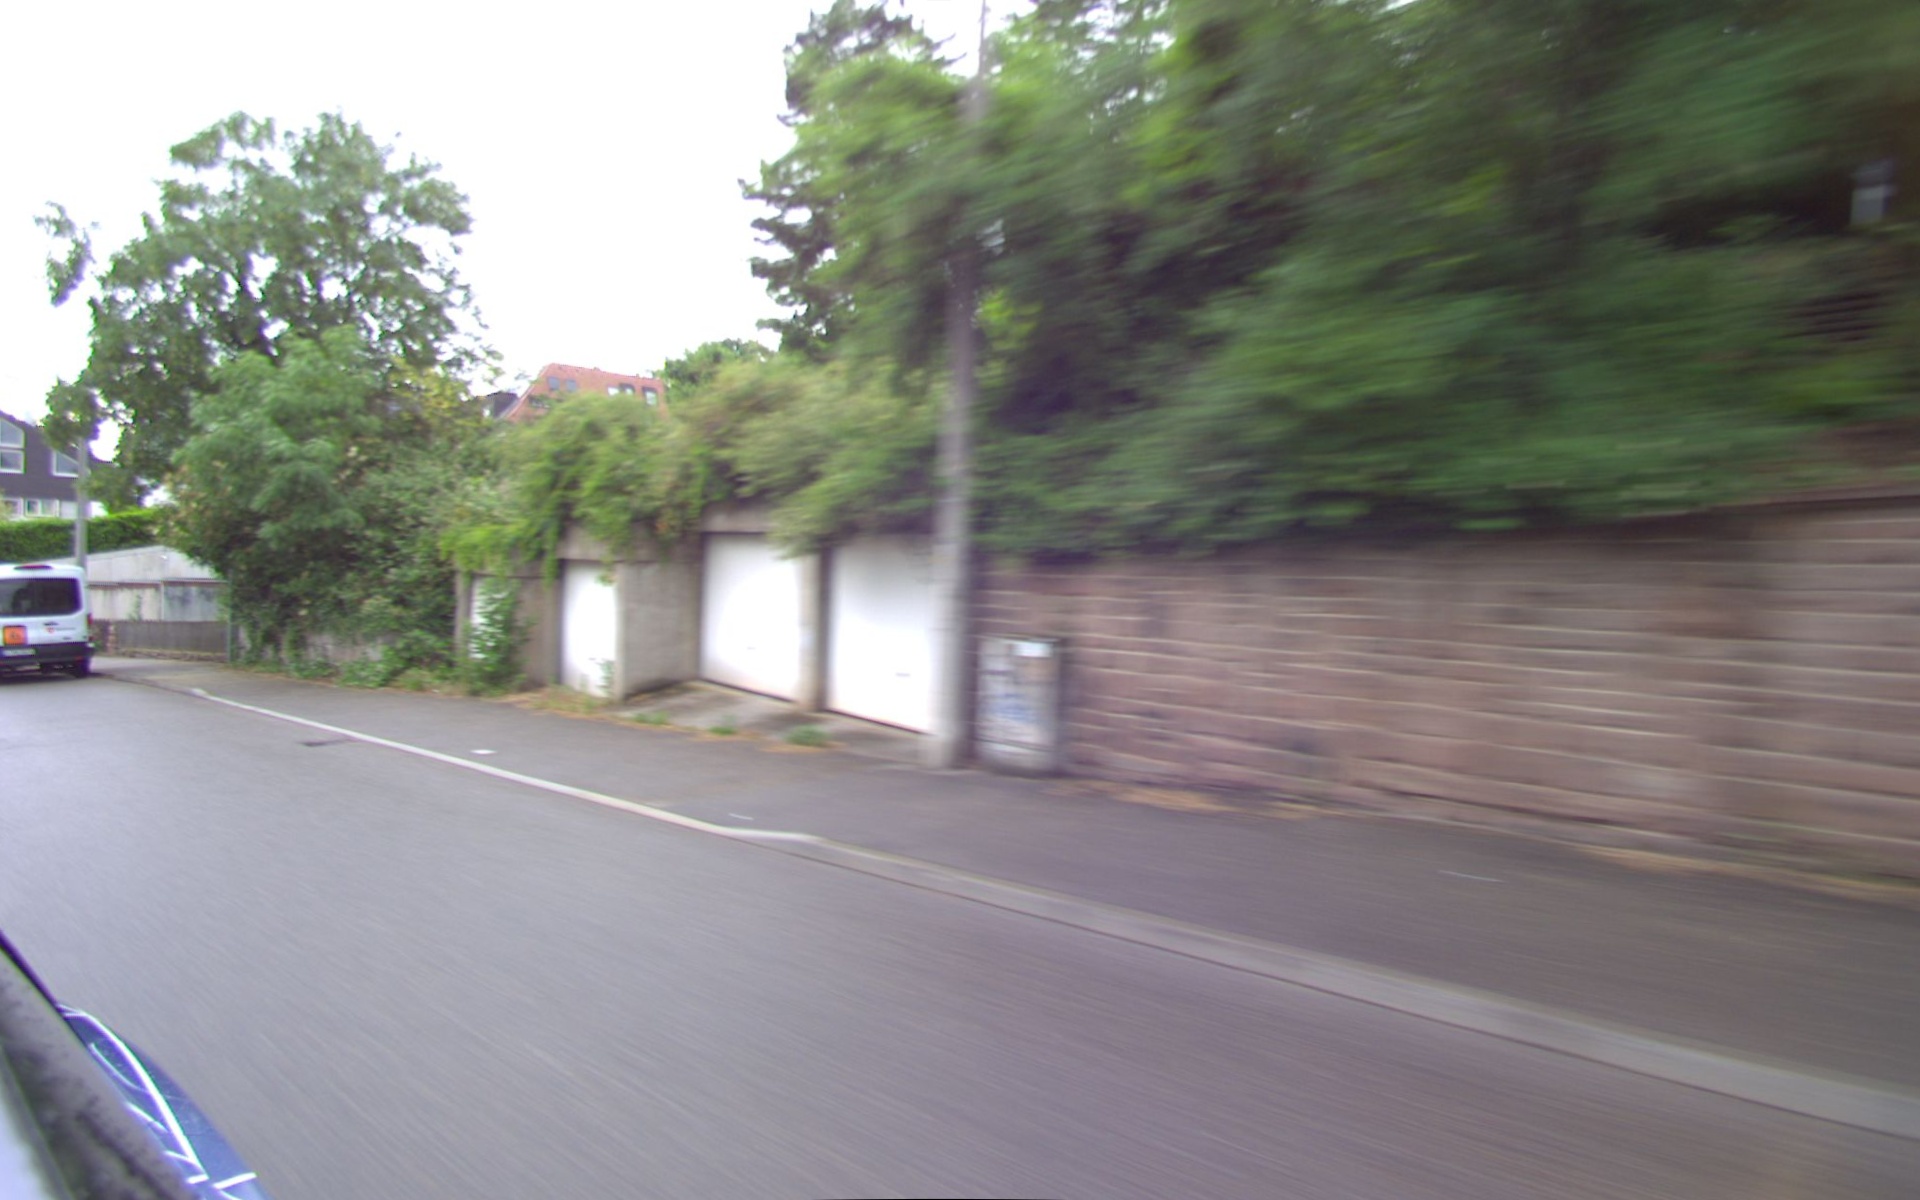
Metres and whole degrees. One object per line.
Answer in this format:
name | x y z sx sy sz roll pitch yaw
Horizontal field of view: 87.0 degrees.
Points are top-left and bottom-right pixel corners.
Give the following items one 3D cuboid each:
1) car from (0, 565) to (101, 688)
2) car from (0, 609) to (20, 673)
car | -22.003 0.593 23.446 6.090 2.569 2.074 -1 1 39
car | -27.916 1.152 27.908 4.532 1.704 1.881 -1 1 33
